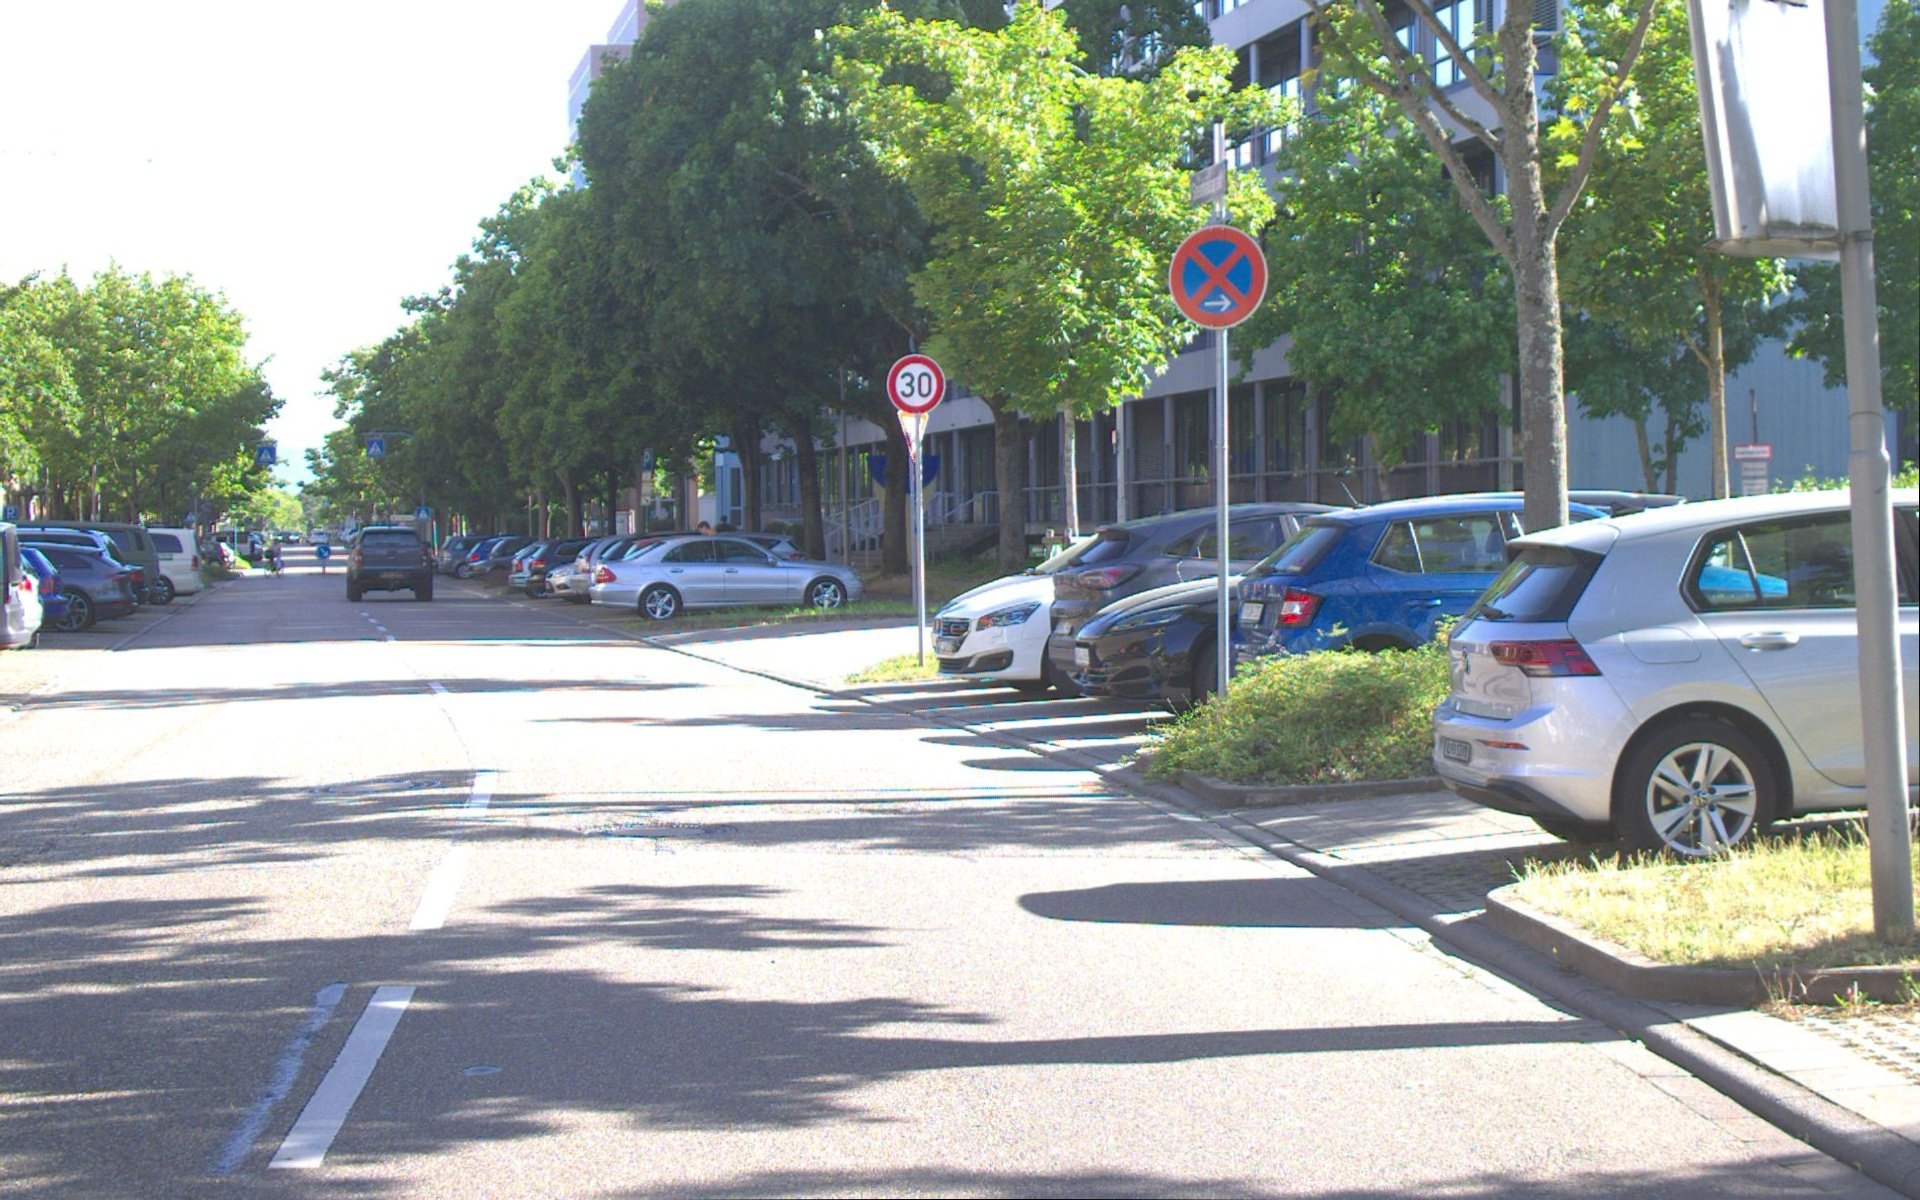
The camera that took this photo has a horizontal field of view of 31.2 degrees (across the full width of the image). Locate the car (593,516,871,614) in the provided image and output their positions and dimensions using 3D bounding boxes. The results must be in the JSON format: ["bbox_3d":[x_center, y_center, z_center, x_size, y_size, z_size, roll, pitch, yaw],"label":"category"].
[{"bbox_3d":[-3.969,-0.621,59.562,4.577,1.470,1.747,-3,2,-10],"label":"car"}]

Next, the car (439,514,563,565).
[{"bbox_3d":[-17.128,-2.274,128.151,4.350,1.698,1.813,-3,1,-13],"label":"car"}]

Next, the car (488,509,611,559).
[{"bbox_3d":[-13.655,-2.194,114.284,3.948,1.509,1.813,-3,1,-9],"label":"car"}]

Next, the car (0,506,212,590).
[{"bbox_3d":[-20.997,-1.267,83.992,5.256,1.960,1.943,1,1,-11],"label":"car"}]

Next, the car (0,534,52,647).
[{"bbox_3d":[-13.817,-0.155,44.947,3.725,1.442,1.877,1,1,-14],"label":"car"}]

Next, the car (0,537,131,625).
[{"bbox_3d":[-16.073,-0.342,57.147,4.401,1.422,1.773,1,1,-12],"label":"car"}]

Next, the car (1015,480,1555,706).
[{"bbox_3d":[2.549,-0.070,27.399,3.874,1.509,1.751,-4,1,-10],"label":"car"}]

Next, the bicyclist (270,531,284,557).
[{"bbox_3d":[-29.356,-2.410,147.792,0.532,1.087,0.794,-1,1,-8],"label":"bicyclist"}]

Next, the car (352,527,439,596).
[{"bbox_3d":[-13.977,-0.962,84.927,1.993,1.634,4.001,1,1,-11],"label":"car"}]

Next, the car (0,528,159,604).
[{"bbox_3d":[-17.541,-0.672,66.810,3.725,1.422,1.726,1,1,-16],"label":"car"}]

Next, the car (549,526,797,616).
[{"bbox_3d":[-5.648,-0.578,67.486,4.514,1.537,1.922,-3,1,-15],"label":"car"}]

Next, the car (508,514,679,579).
[{"bbox_3d":[-9.006,-1.313,84.413,3.968,1.415,1.711,-3,1,-12],"label":"car"}]

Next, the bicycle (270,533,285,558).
[{"bbox_3d":[-29.351,-2.358,147.778,0.532,1.068,1.300,-1,1,-8],"label":"bicycle"}]

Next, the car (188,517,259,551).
[{"bbox_3d":[-44.875,-4.021,209.483,3.986,2.007,2.001,-1,1,-7],"label":"car"}]

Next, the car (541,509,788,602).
[{"bbox_3d":[-5.580,-0.851,64.674,4.514,1.537,1.922,-3,1,-7],"label":"car"}]

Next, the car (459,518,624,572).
[{"bbox_3d":[-12.903,-1.701,105.893,4.824,1.415,2.033,-3,1,-12],"label":"car"}]

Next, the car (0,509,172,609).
[{"bbox_3d":[-19.395,-0.903,74.162,4.487,2.082,2.083,1,1,-9],"label":"car"}]

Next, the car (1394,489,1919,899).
[{"bbox_3d":[4.023,0.262,14.220,4.089,1.424,1.643,-5,1,-4],"label":"car"}]

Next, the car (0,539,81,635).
[{"bbox_3d":[-15.288,-0.227,52.069,3.725,1.422,1.841,1,1,-11],"label":"car"}]

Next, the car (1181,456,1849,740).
[{"bbox_3d":[3.528,-0.032,22.191,3.804,1.443,1.745,-5,1,-8],"label":"car"}]

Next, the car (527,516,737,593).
[{"bbox_3d":[-7.550,-1.060,79.017,4.590,1.488,1.763,-4,2,-11],"label":"car"}]

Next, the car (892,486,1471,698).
[{"bbox_3d":[1.900,-0.086,29.889,4.548,1.509,1.983,-4,1,-16],"label":"car"}]

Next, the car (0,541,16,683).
[{"bbox_3d":[-11.721,0.090,35.052,3.891,1.419,1.740,1,1,-10],"label":"car"}]

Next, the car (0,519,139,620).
[{"bbox_3d":[-16.599,-0.554,59.708,4.320,1.711,1.963,1,1,-6],"label":"car"}]

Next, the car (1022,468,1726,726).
[{"bbox_3d":[2.930,-0.044,24.874,4.548,1.509,2.159,-4,1,-10],"label":"car"}]

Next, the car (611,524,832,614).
[{"bbox_3d":[-4.346,-0.575,62.353,3.837,1.442,1.922,-3,1,-7],"label":"car"}]

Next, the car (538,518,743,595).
[{"bbox_3d":[-7.145,-0.979,76.603,4.284,1.488,2.005,-3,1,-12],"label":"car"}]

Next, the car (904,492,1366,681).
[{"bbox_3d":[1.636,-0.141,32.494,3.947,1.509,1.702,-4,1,-16],"label":"car"}]

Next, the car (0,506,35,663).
[{"bbox_3d":[-12.830,-0.215,39.884,3.891,1.805,1.786,1,1,-10],"label":"car"}]

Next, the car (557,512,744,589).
[{"bbox_3d":[-6.690,-1.072,74.275,3.742,1.488,1.617,-3,1,-15],"label":"car"}]
